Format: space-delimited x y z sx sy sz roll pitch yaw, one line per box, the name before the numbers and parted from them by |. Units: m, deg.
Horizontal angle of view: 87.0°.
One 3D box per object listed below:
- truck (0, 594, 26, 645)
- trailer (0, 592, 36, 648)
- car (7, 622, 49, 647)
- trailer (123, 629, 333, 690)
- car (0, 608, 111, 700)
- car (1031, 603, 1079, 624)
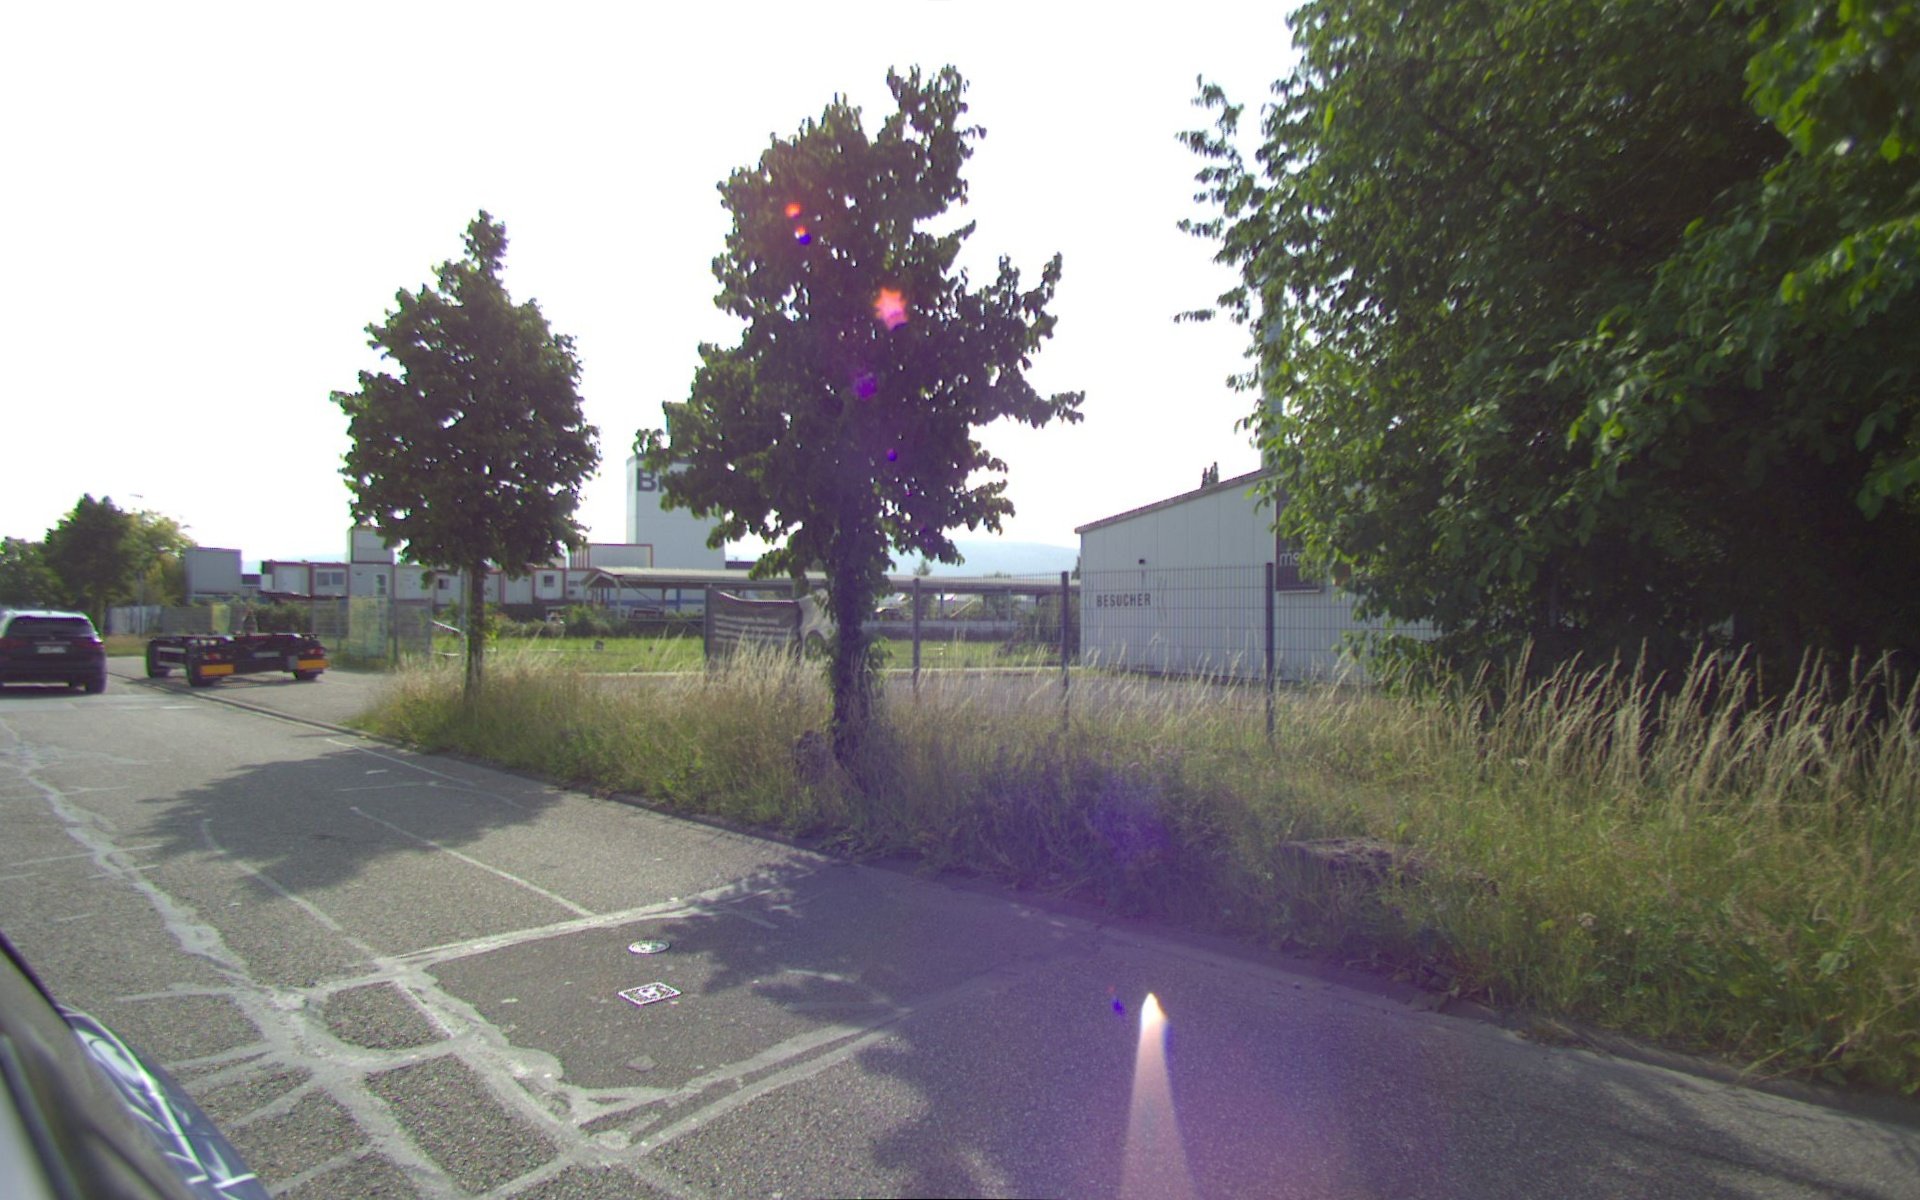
truck | -77.816 1.596 81.853 9.636 3.914 2.683 -1 -1 43
trailer | -70.854 1.496 75.206 9.768 3.914 2.670 -1 -1 44
car | -56.381 2.079 61.175 4.095 1.481 1.668 -2 -2 45
trailer | -18.670 1.371 25.495 9.363 1.193 2.554 -1 0 43
car | -19.250 1.089 21.087 4.226 1.728 1.836 -2 -4 43
car | 8.458 1.244 90.045 3.835 1.821 1.752 0 -2 -27
